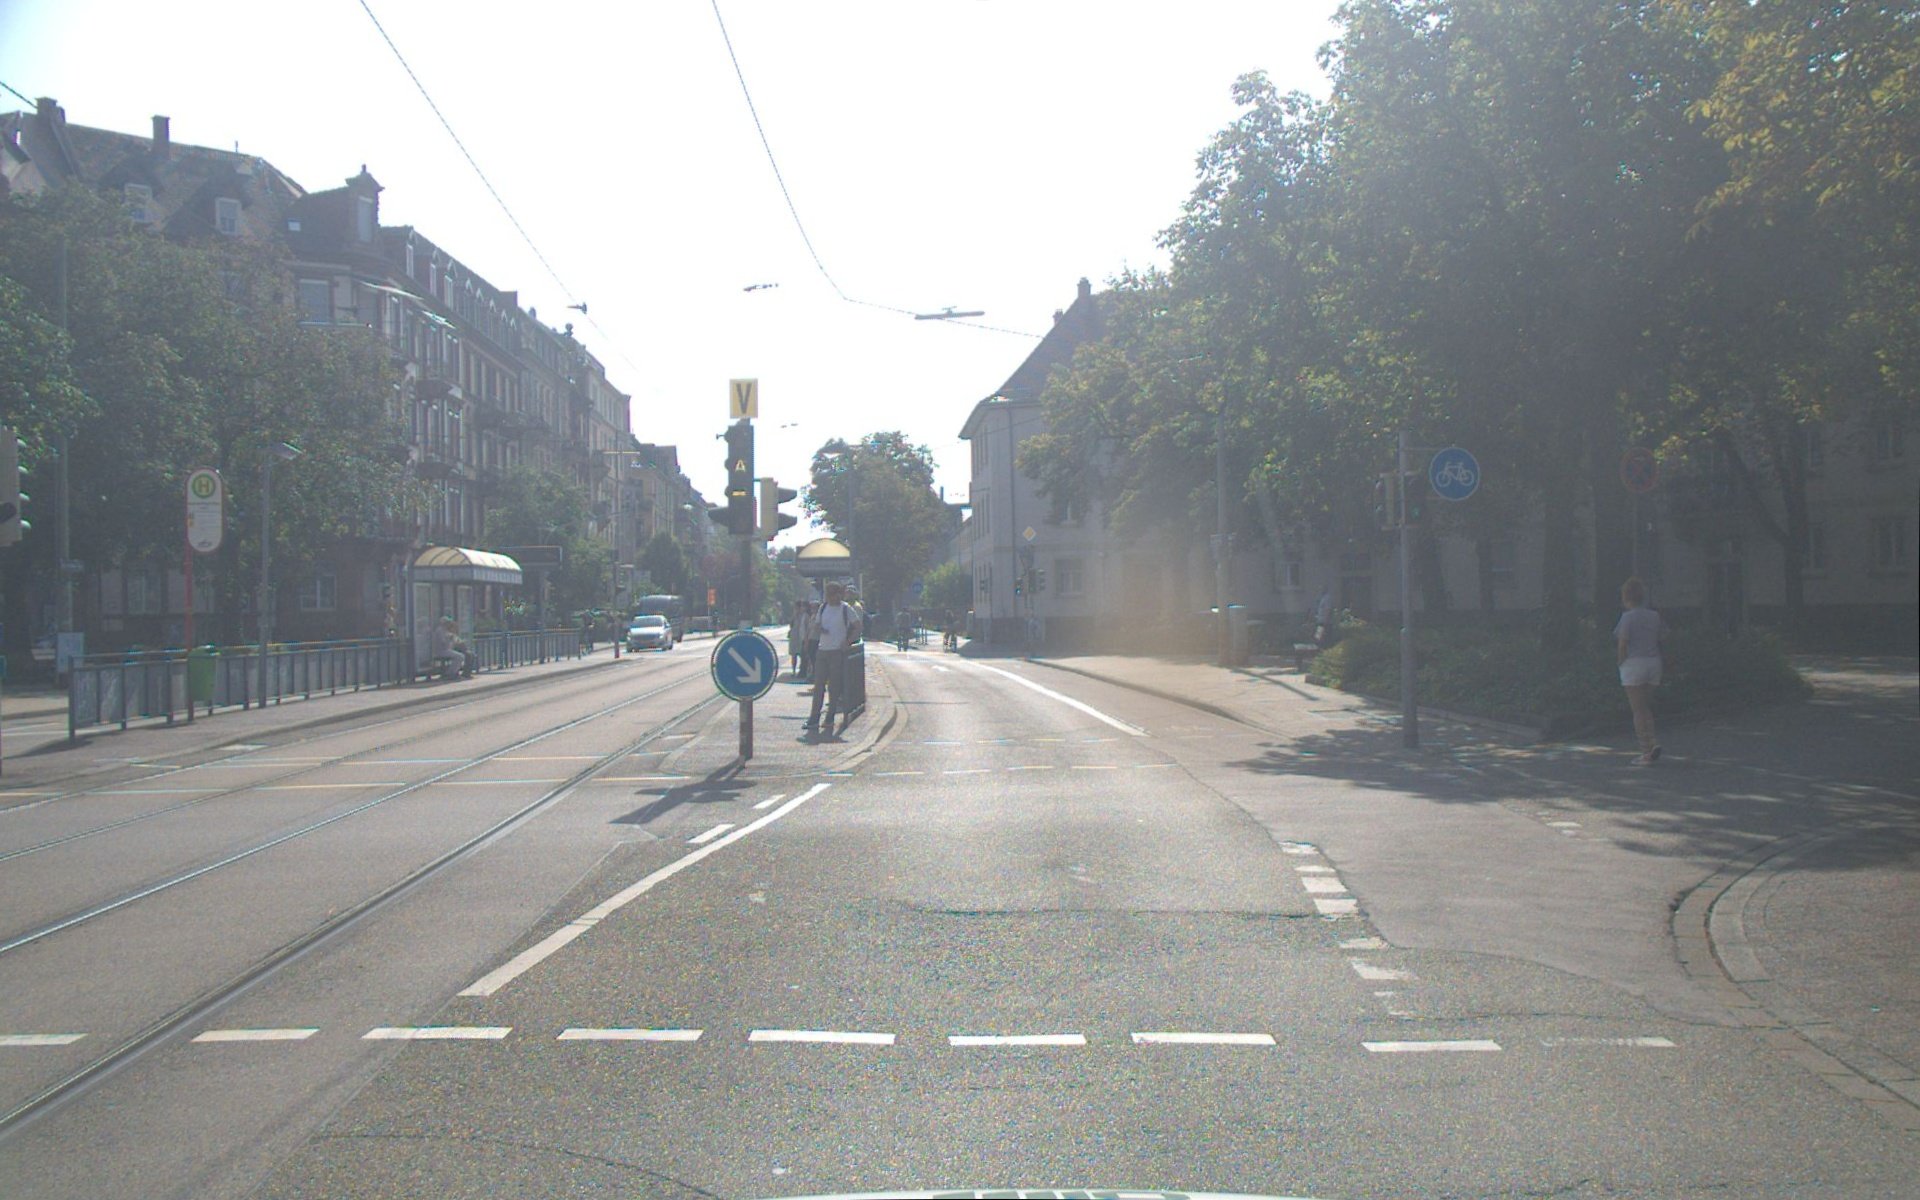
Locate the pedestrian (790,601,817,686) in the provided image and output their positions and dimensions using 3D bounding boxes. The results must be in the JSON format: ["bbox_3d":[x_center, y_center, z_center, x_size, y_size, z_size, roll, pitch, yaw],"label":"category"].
[{"bbox_3d":[-3.380,0.941,35.721,0.521,1.790,0.544,1,2,-2],"label":"pedestrian"}]

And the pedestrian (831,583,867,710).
[{"bbox_3d":[-1.669,0.687,24.870,0.494,1.866,0.534,1,2,-3],"label":"pedestrian"}]

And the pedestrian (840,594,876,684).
[{"bbox_3d":[-2.082,0.792,33.754,0.695,1.790,0.534,1,2,-3],"label":"pedestrian"}]

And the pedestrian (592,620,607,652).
[{"bbox_3d":[-19.964,1.988,91.611,0.737,1.761,0.769,-1,-1,-12],"label":"pedestrian"}]

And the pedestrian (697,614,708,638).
[{"bbox_3d":[-19.536,1.964,125.474,0.737,1.761,0.769,-1,-1,-12],"label":"pedestrian"}]

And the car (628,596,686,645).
[{"bbox_3d":[-17.499,1.179,95.822,2.299,2.708,5.105,-1,-1,1],"label":"car"}]

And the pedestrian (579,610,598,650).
[{"bbox_3d":[-16.356,1.314,72.834,0.737,1.761,0.769,-1,-1,-12],"label":"pedestrian"}]

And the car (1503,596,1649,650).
[{"bbox_3d":[17.488,0.654,47.137,1.825,1.443,3.980,-1,0,-18],"label":"car"}]

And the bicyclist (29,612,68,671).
[{"bbox_3d":[-29.511,1.338,53.556,0.484,1.890,0.984,-2,-1,41],"label":"bicyclist"}]

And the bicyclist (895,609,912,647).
[{"bbox_3d":[-2.347,1.159,68.788,0.616,1.534,0.678,-1,-1,-5],"label":"bicyclist"}]

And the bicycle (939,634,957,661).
[{"bbox_3d":[-0.473,1.865,65.183,0.547,0.995,1.854,-1,0,-5],"label":"bicycle"}]

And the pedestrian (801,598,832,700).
[{"bbox_3d":[-2.563,0.869,29.525,0.494,1.790,0.534,1,2,-3],"label":"pedestrian"}]

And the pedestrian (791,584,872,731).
[{"bbox_3d":[-1.599,0.693,20.603,0.687,1.755,0.747,2,2,29],"label":"pedestrian"}]

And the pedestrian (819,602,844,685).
[{"bbox_3d":[-2.812,0.951,36.333,0.494,1.790,0.534,1,2,-3],"label":"pedestrian"}]

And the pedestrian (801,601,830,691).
[{"bbox_3d":[-2.917,0.922,33.517,0.532,1.790,0.534,1,2,-3],"label":"pedestrian"}]

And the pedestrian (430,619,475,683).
[{"bbox_3d":[-11.265,1.115,36.699,0.812,1.382,0.775,-1,-1,-8],"label":"pedestrian"}]

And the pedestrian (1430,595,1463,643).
[{"bbox_3d":[18.074,0.699,61.419,0.770,1.771,0.879,0,-1,-45],"label":"pedestrian"}]

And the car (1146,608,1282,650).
[{"bbox_3d":[8.869,1.021,57.824,4.249,1.343,1.993,-2,-1,36],"label":"car"}]

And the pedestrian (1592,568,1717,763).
[{"bbox_3d":[6.499,0.599,15.507,0.737,1.761,0.769,-1,-1,-12],"label":"pedestrian"}]

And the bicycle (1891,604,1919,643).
[{"bbox_3d":[24.961,0.613,43.075,0.416,0.995,1.554,-1,0,-6],"label":"bicycle"}]

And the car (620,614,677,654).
[{"bbox_3d":[-13.859,1.487,73.758,1.764,1.682,3.642,-1,-1,1],"label":"car"}]

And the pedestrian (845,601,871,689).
[{"bbox_3d":[-2.126,0.927,34.368,0.494,1.790,0.534,1,2,-3],"label":"pedestrian"}]

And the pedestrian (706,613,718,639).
[{"bbox_3d":[-16.823,1.741,112.209,0.737,1.761,0.769,-1,-1,-12],"label":"pedestrian"}]

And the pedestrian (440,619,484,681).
[{"bbox_3d":[-11.342,1.126,37.672,0.812,1.382,0.775,-1,-1,-8],"label":"pedestrian"}]

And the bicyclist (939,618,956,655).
[{"bbox_3d":[-0.490,1.429,65.201,0.547,1.441,0.871,-1,0,-5],"label":"bicyclist"}]

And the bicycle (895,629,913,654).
[{"bbox_3d":[-2.340,1.736,68.784,0.616,0.995,1.768,-1,0,-5],"label":"bicycle"}]

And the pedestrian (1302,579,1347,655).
[{"bbox_3d":[8.646,0.405,39.215,0.873,1.771,0.775,-2,-1,25],"label":"pedestrian"}]

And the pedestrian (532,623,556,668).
[{"bbox_3d":[-16.708,1.826,66.407,0.734,1.761,0.771,-1,-1,-1],"label":"pedestrian"}]

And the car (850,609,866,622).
[{"bbox_3d":[-15.468,2.365,251.936,1.952,1.814,4.002,0,-1,3],"label":"car"}]

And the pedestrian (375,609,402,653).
[{"bbox_3d":[-23.115,1.261,66.895,0.765,1.761,0.741,-1,-1,-42],"label":"pedestrian"}]
